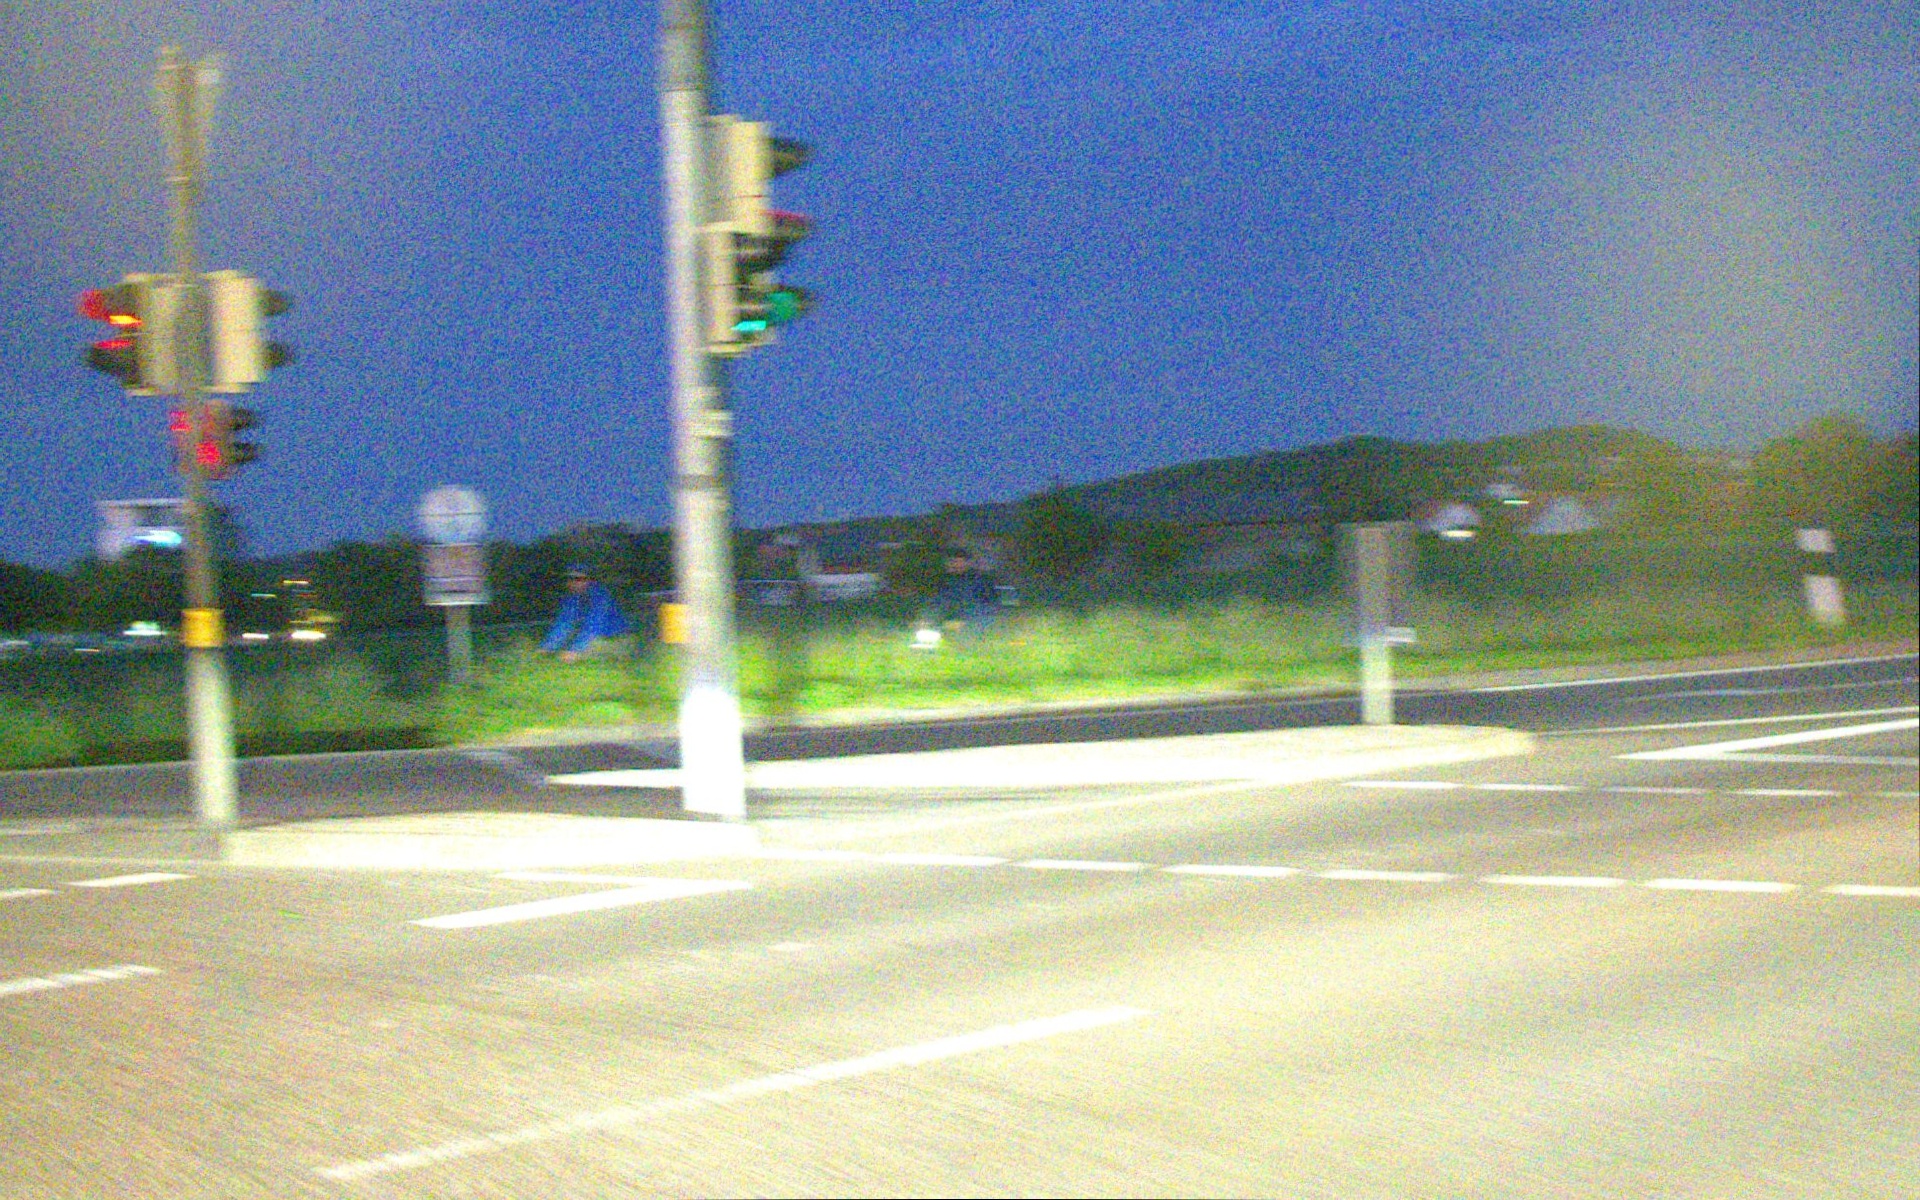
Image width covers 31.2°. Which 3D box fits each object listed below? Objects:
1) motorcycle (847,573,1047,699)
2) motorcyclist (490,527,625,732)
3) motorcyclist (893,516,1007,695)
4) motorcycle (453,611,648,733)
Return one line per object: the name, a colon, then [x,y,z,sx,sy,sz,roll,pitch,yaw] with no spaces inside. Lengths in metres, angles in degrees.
motorcycle: [-0.123,0.362,34.727,1.816,1.177,0.849,-1,-4,-38]
motorcyclist: [-3.722,0.273,31.735,0.867,1.803,0.917,-1,-5,-29]
motorcyclist: [-0.103,0.052,34.768,0.788,1.753,0.684,-1,-4,-38]
motorcycle: [-3.766,0.662,31.644,1.572,1.030,0.723,-1,-5,-30]
